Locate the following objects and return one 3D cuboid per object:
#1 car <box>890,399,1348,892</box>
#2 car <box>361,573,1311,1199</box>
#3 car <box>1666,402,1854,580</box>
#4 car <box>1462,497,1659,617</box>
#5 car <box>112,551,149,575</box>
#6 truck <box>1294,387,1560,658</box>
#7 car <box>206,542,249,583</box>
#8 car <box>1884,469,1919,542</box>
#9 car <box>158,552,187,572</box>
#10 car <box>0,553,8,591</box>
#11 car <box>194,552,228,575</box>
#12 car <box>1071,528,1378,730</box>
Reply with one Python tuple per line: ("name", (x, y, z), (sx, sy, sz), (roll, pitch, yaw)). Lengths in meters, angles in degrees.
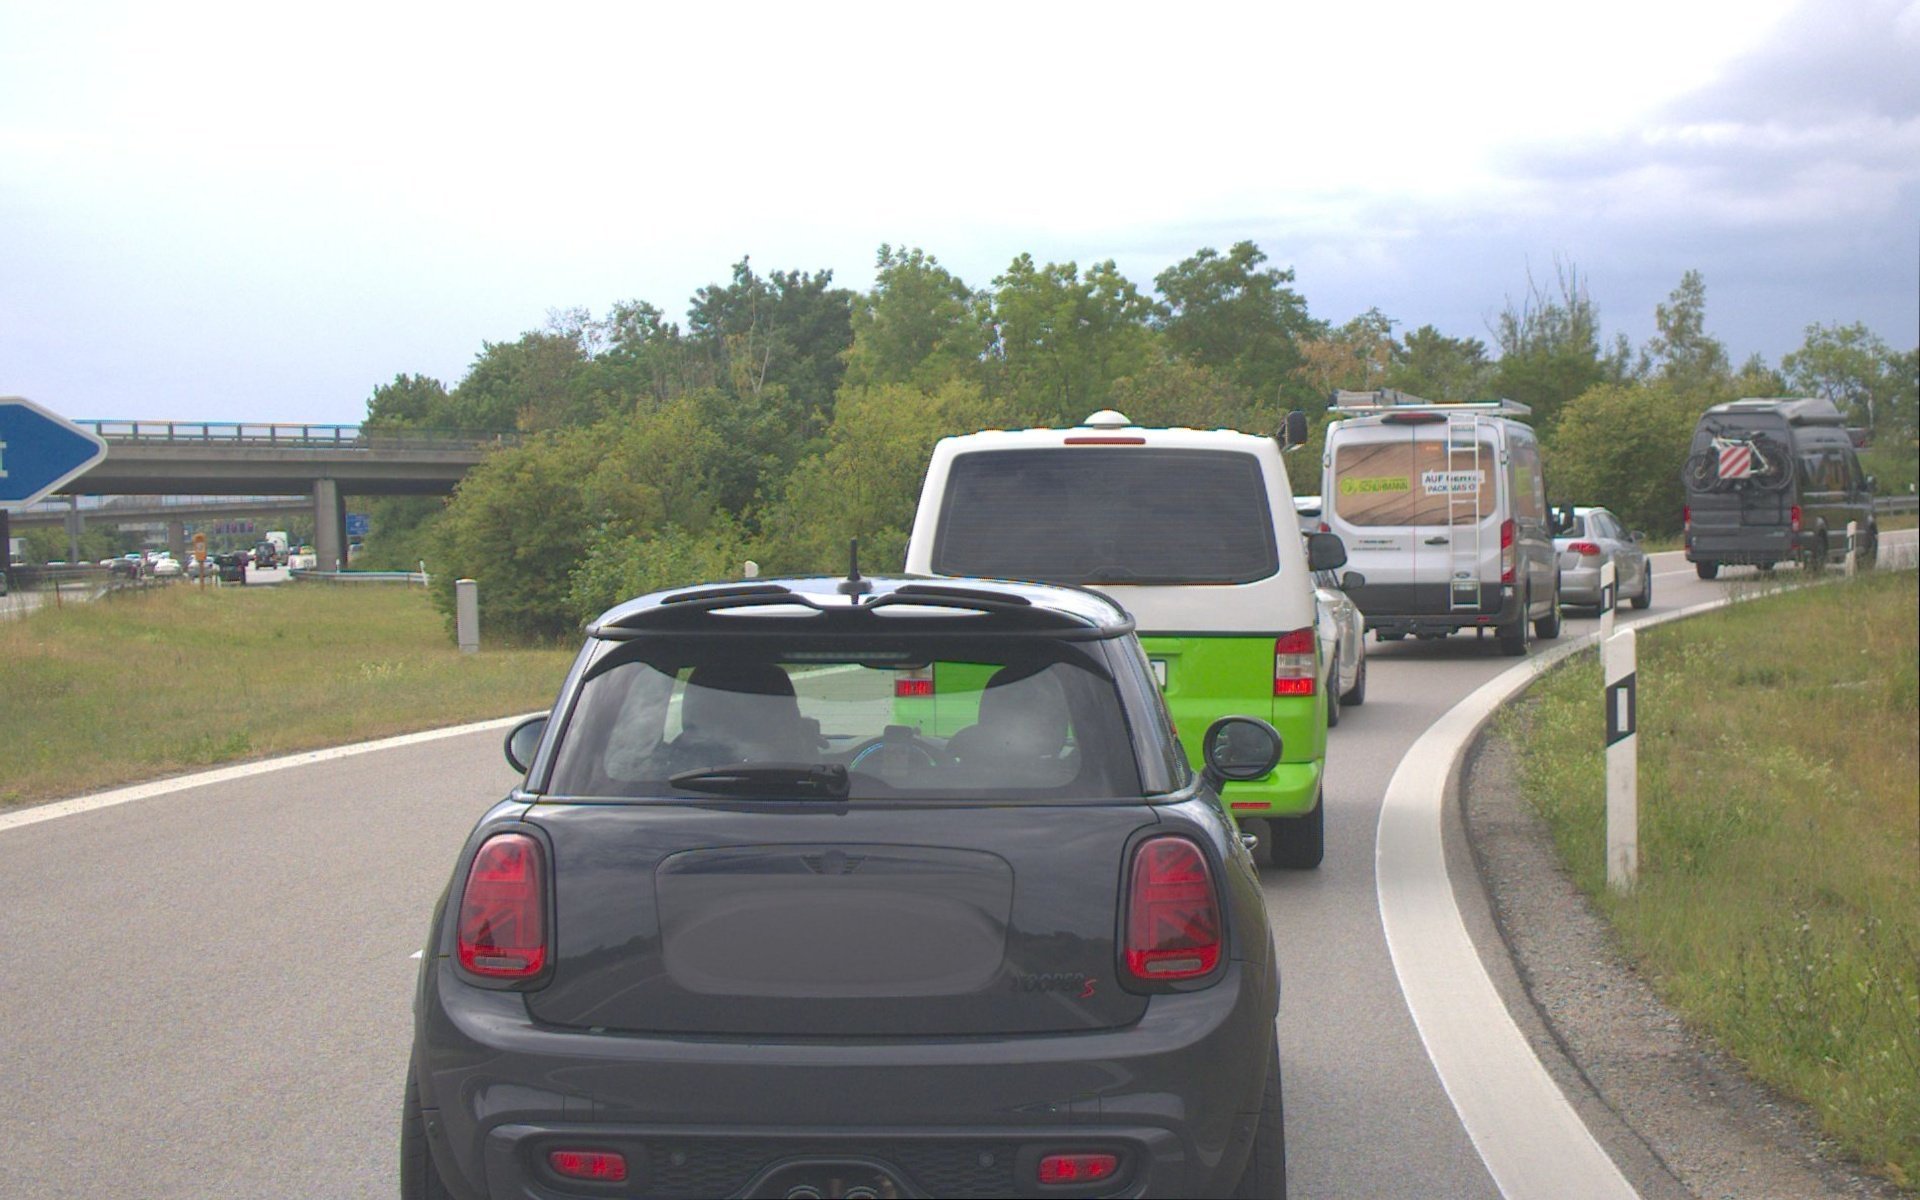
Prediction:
("car", (0.868, 0.146, 16.115), (1.785, 2.007, 3.999), (0, 1, 8))
("car", (-0.269, 0.658, 8.123), (1.727, 1.409, 3.725), (0, 1, -1))
("car", (13.119, -1.770, 56.231), (2.108, 2.786, 3.994), (1, 1, 27))
("car", (7.956, -0.574, 45.281), (1.868, 1.504, 3.996), (0, 1, 20))
("car", (-50.065, -2.222, 207.497), (1.779, 1.394, 4.307), (-1, 1, -8))
("truck", (5.054, -0.844, 36.551), (2.180, 2.649, 5.105), (0, 2, 15))
("car", (-36.784, -1.858, 172.709), (1.993, 2.007, 4.001), (1, 0, -11))
("car", (21.758, -2.043, 74.975), (1.799, 1.550, 3.953), (0, 0, 36))
("car", (-54.950, -2.669, 239.811), (1.779, 1.394, 4.307), (-1, 1, -11))
("car", (-37.485, -1.054, 131.192), (1.721, 1.419, 4.799), (-1, 1, -10))
("car", (-46.790, -2.310, 214.874), (1.779, 1.394, 4.552), (-1, 1, -8))
("car", (2.061, 0.171, 25.802), (1.763, 1.394, 3.723), (-1, 1, 13))
